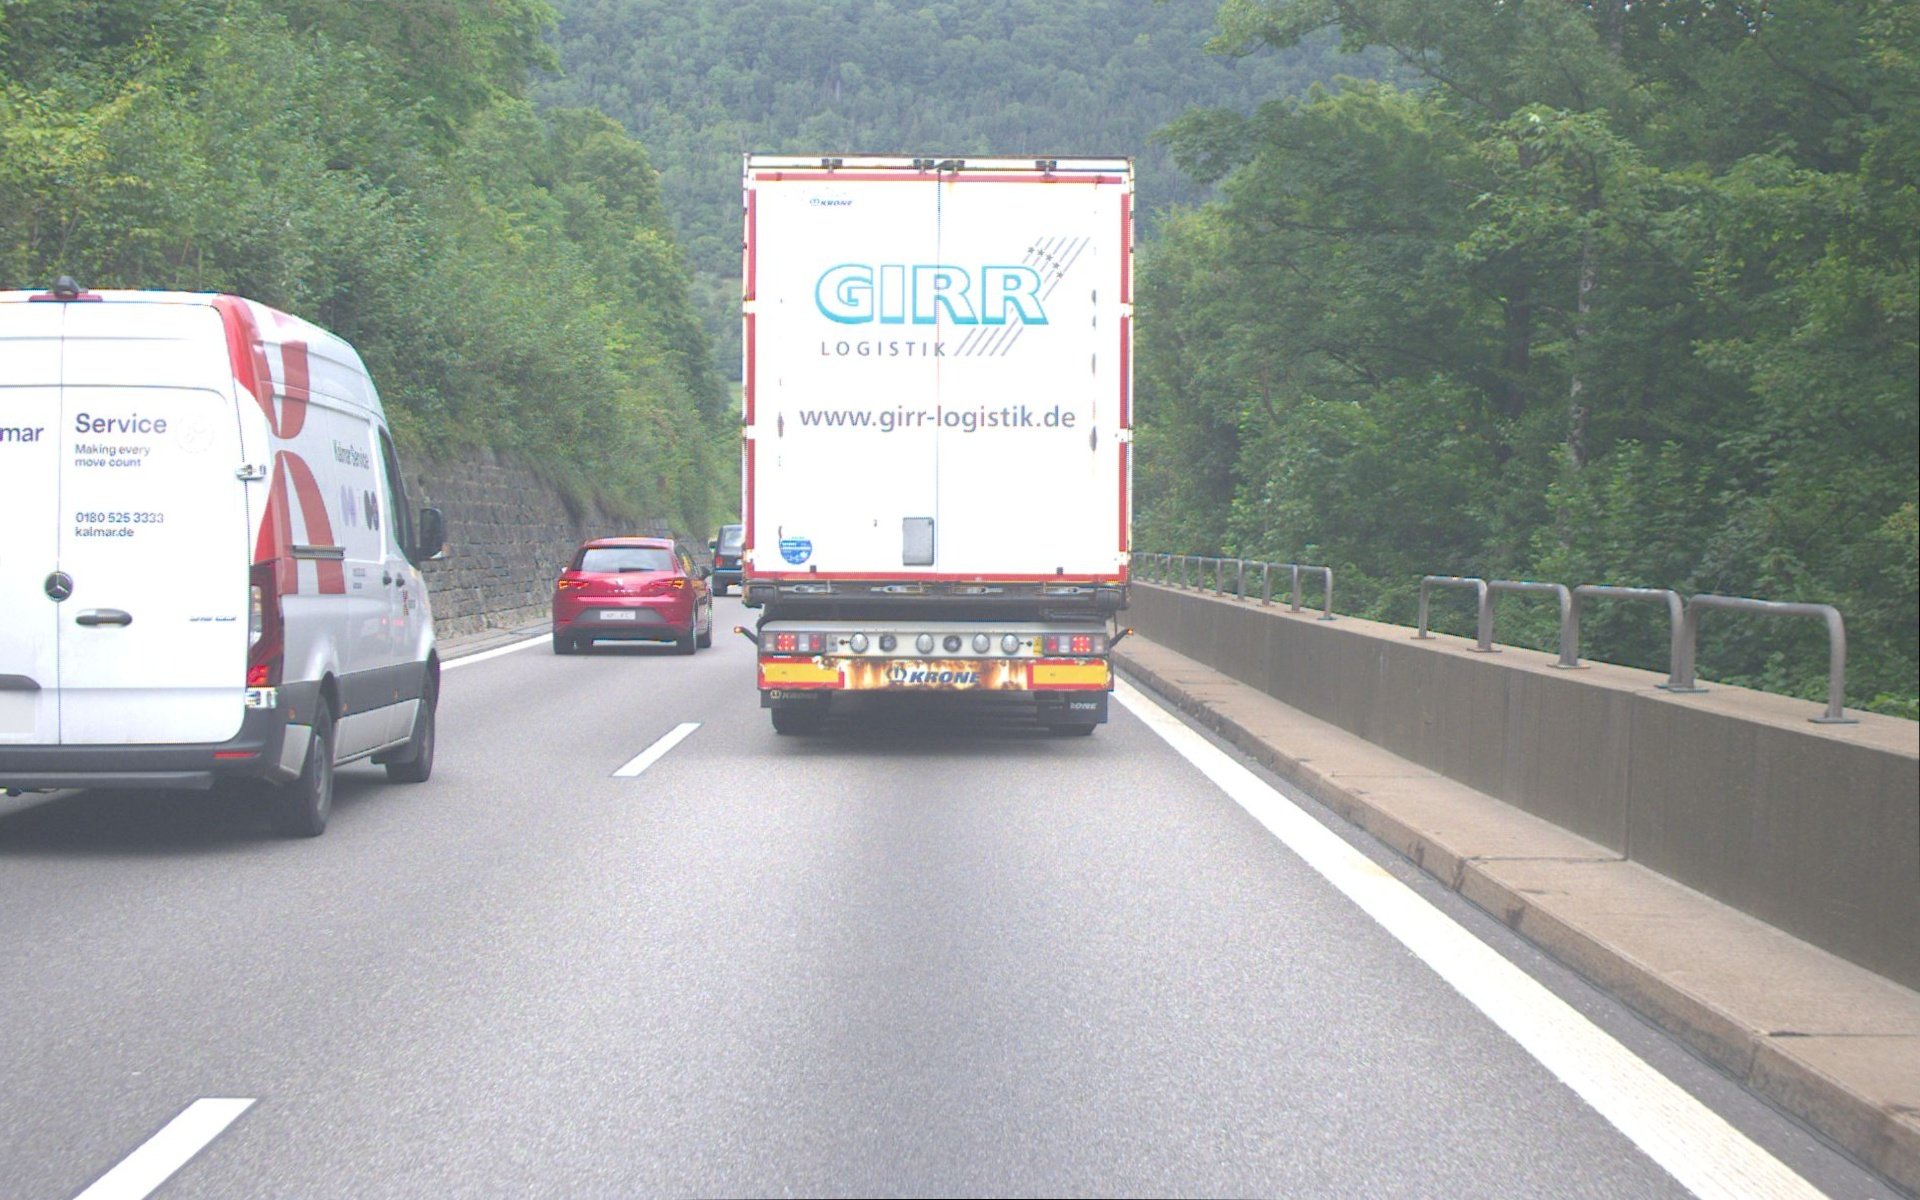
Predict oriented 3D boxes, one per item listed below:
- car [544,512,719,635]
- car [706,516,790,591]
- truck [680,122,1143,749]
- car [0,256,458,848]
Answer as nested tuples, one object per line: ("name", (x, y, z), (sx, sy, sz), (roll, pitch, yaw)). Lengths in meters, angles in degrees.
("car", (-4.088, -0.345, 43.349), (1.766, 1.455, 4.411), (0, 1, 0))
("car", (-4.751, -1.043, 77.429), (1.669, 1.633, 4.068), (0, 1, 0))
("truck", (-0.275, -1.122, 26.434), (2.909, 3.947, 9.279), (0, 1, 0))
("car", (-4.059, -0.249, 18.142), (2.026, 2.576, 6.275), (0, 1, -1))
